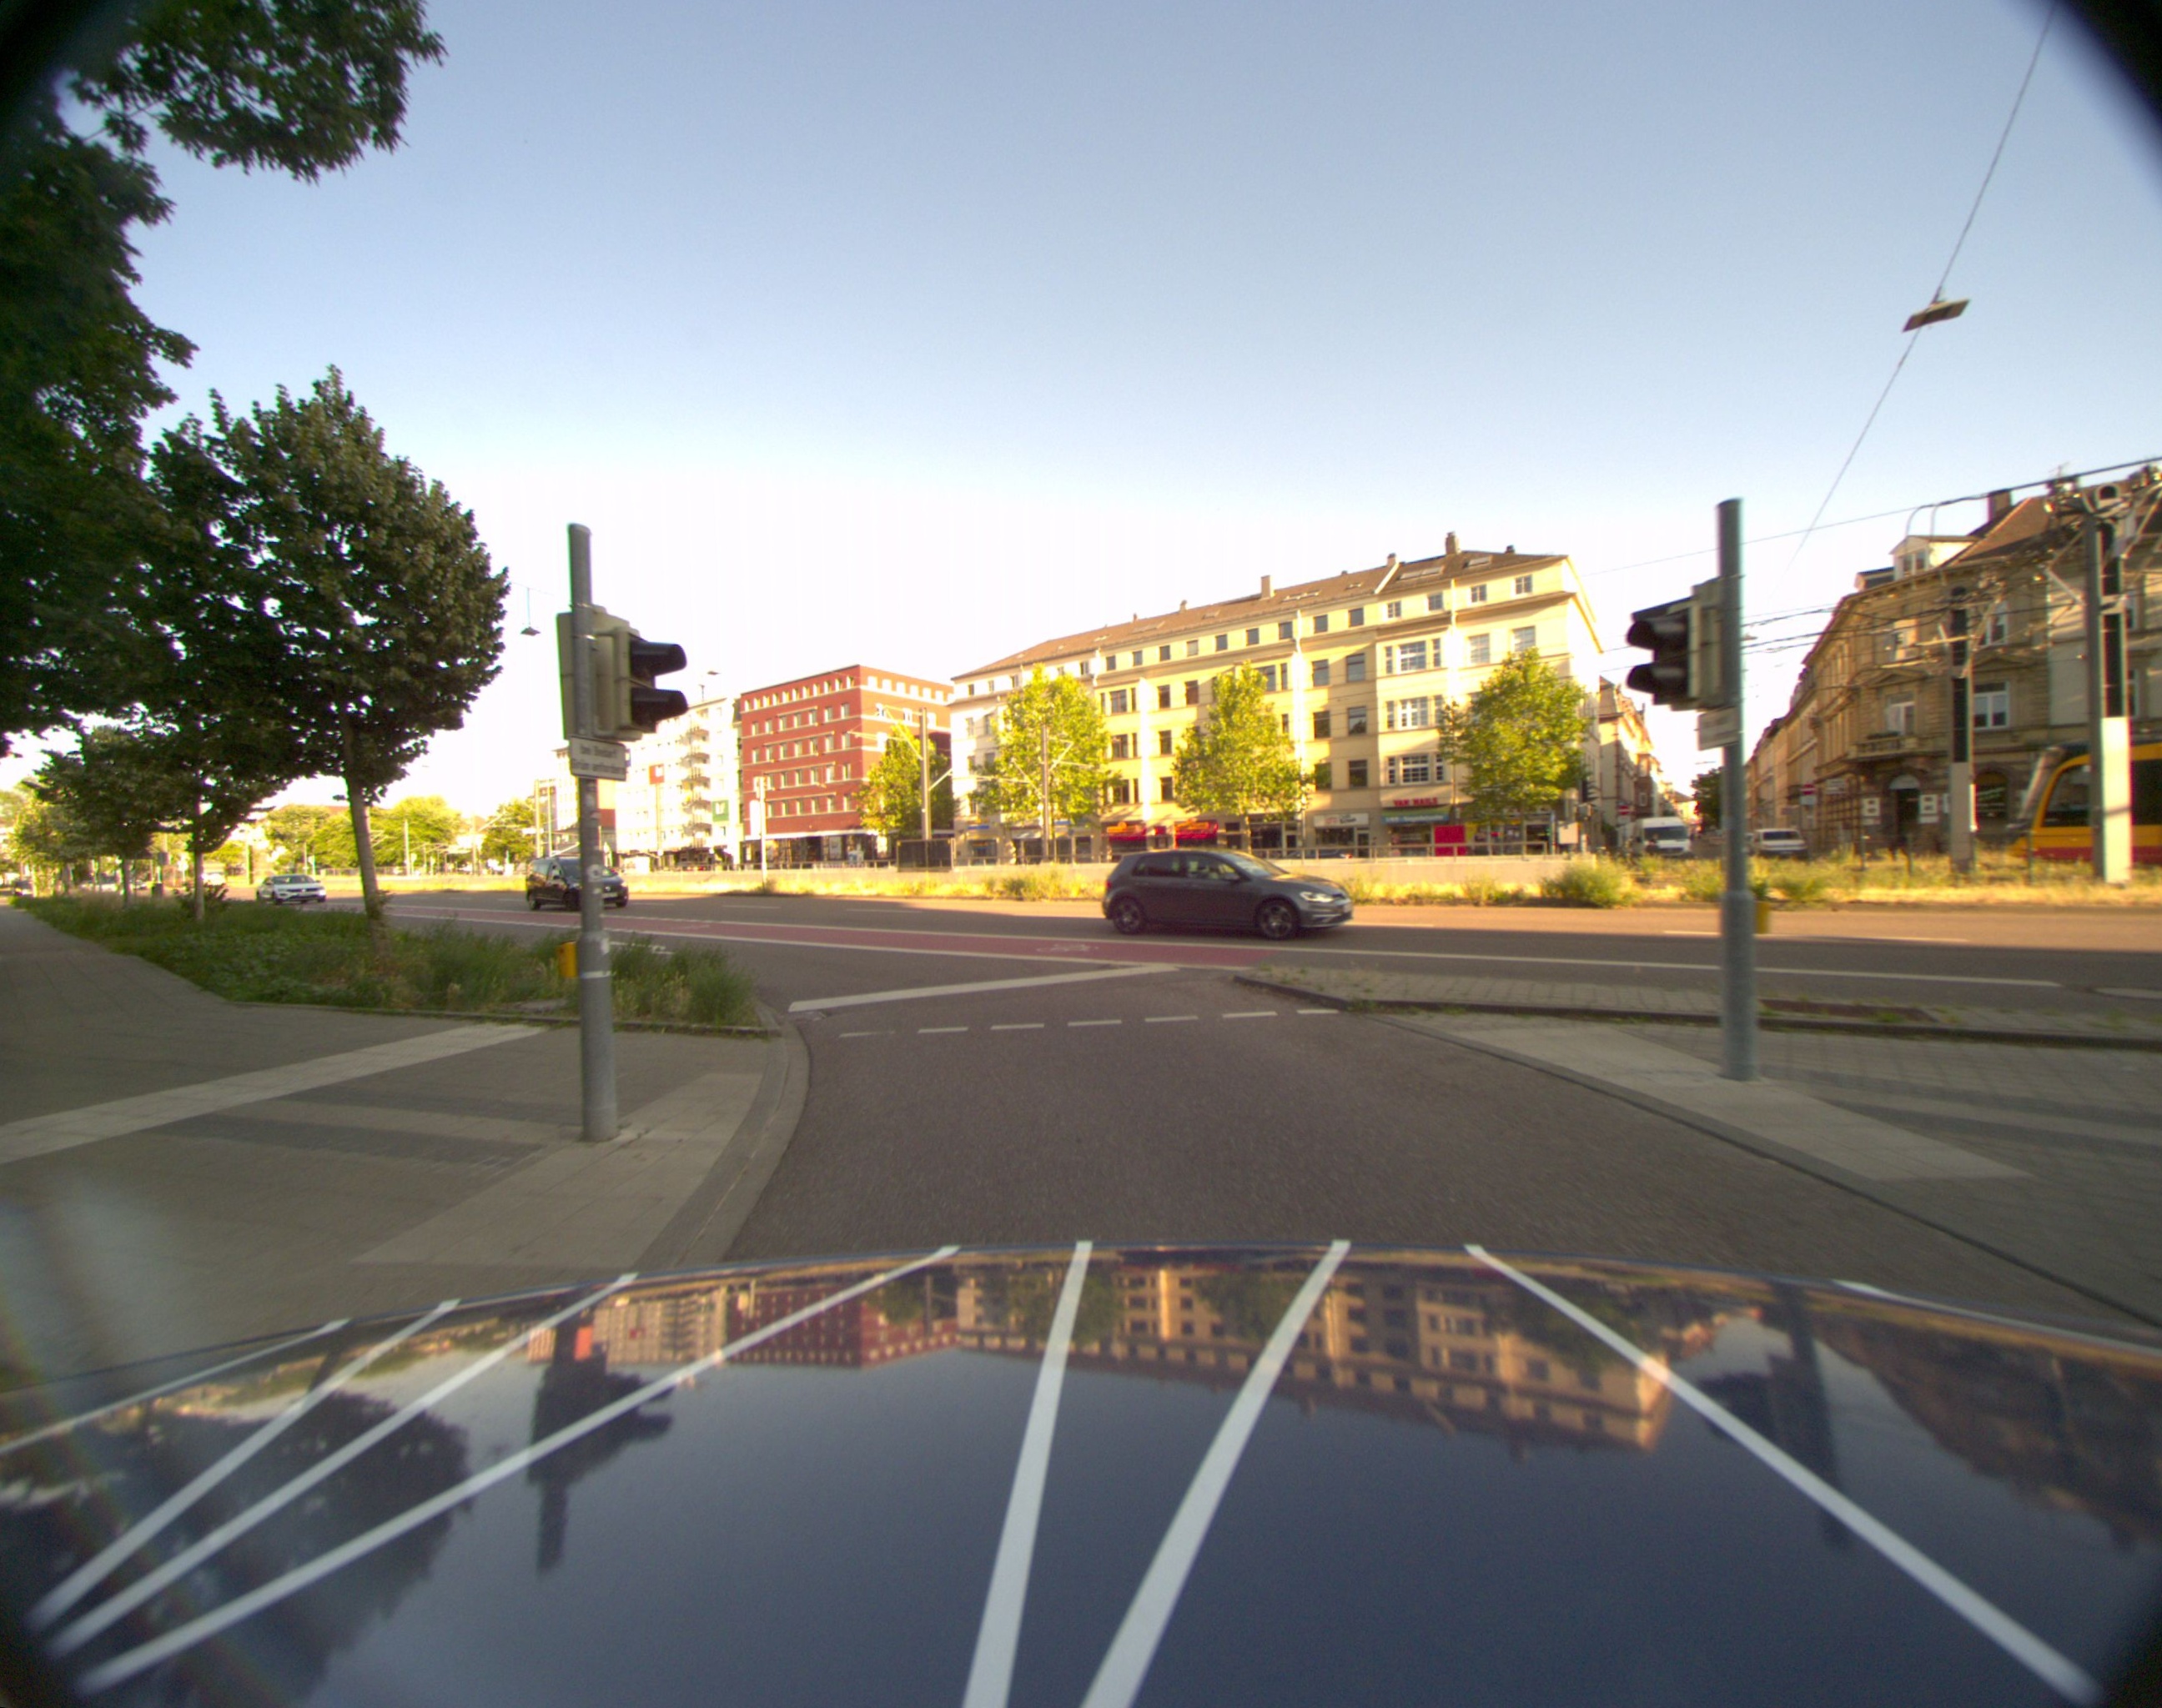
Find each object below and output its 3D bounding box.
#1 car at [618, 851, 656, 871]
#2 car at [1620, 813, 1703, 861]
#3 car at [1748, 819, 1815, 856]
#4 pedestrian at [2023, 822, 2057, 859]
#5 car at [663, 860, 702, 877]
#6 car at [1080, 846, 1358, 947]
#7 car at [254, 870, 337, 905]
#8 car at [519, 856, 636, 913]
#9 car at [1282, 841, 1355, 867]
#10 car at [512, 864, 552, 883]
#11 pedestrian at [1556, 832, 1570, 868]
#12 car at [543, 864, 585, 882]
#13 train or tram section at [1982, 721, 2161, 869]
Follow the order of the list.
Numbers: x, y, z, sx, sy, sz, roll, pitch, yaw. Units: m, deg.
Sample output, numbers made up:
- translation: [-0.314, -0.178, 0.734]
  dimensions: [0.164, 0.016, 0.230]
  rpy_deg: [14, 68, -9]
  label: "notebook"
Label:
- translation: [-51.508, 0.797, 88.104]
  dimensions: [4.560, 2.121, 1.962]
  rpy_deg: [-2, 1, 35]
  label: "car"
- translation: [30.390, -0.866, 40.053]
  dimensions: [2.464, 2.253, 7.304]
  rpy_deg: [-1, 1, 30]
  label: "car"
- translation: [38.262, -0.897, 41.624]
  dimensions: [1.981, 1.876, 4.707]
  rpy_deg: [-1, 1, 33]
  label: "car"
- translation: [40.481, -0.576, 32.066]
  dimensions: [0.689, 1.553, 0.707]
  rpy_deg: [-1, 2, 32]
  label: "pedestrian"
- translation: [-45.433, 1.626, 86.581]
  dimensions: [4.729, 1.787, 2.004]
  rpy_deg: [-2, 1, 36]
  label: "car"
- translation: [2.281, 0.675, 12.914]
  dimensions: [4.233, 1.418, 1.774]
  rpy_deg: [-2, 2, 33]
  label: "car"
- translation: [-40.461, 1.709, 39.114]
  dimensions: [4.267, 1.529, 1.837]
  rpy_deg: [-1, 3, 29]
  label: "car"
- translation: [-17.053, 1.008, 25.702]
  dimensions: [4.136, 1.722, 1.774]
  rpy_deg: [-1, 1, 34]
  label: "car"
- translation: [13.645, 0.004, 43.698]
  dimensions: [3.699, 1.325, 1.461]
  rpy_deg: [-1, 3, 36]
  label: "car"
- translation: [-61.574, 2.186, 85.253]
  dimensions: [4.762, 2.002, 2.004]
  rpy_deg: [-1, 1, 34]
  label: "car"
- translation: [25.762, -0.210, 40.633]
  dimensions: [0.584, 1.908, 0.634]
  rpy_deg: [0, 4, 36]
  label: "pedestrian"
- translation: [-54.400, 1.986, 79.903]
  dimensions: [4.881, 1.787, 2.004]
  rpy_deg: [-2, 1, 36]
  label: "car"
- translation: [31.556, -1.535, 15.054]
  dimensions: [17.428, 3.538, 3.128]
  rpy_deg: [-1, 1, 43]
  label: "train or tram section"
